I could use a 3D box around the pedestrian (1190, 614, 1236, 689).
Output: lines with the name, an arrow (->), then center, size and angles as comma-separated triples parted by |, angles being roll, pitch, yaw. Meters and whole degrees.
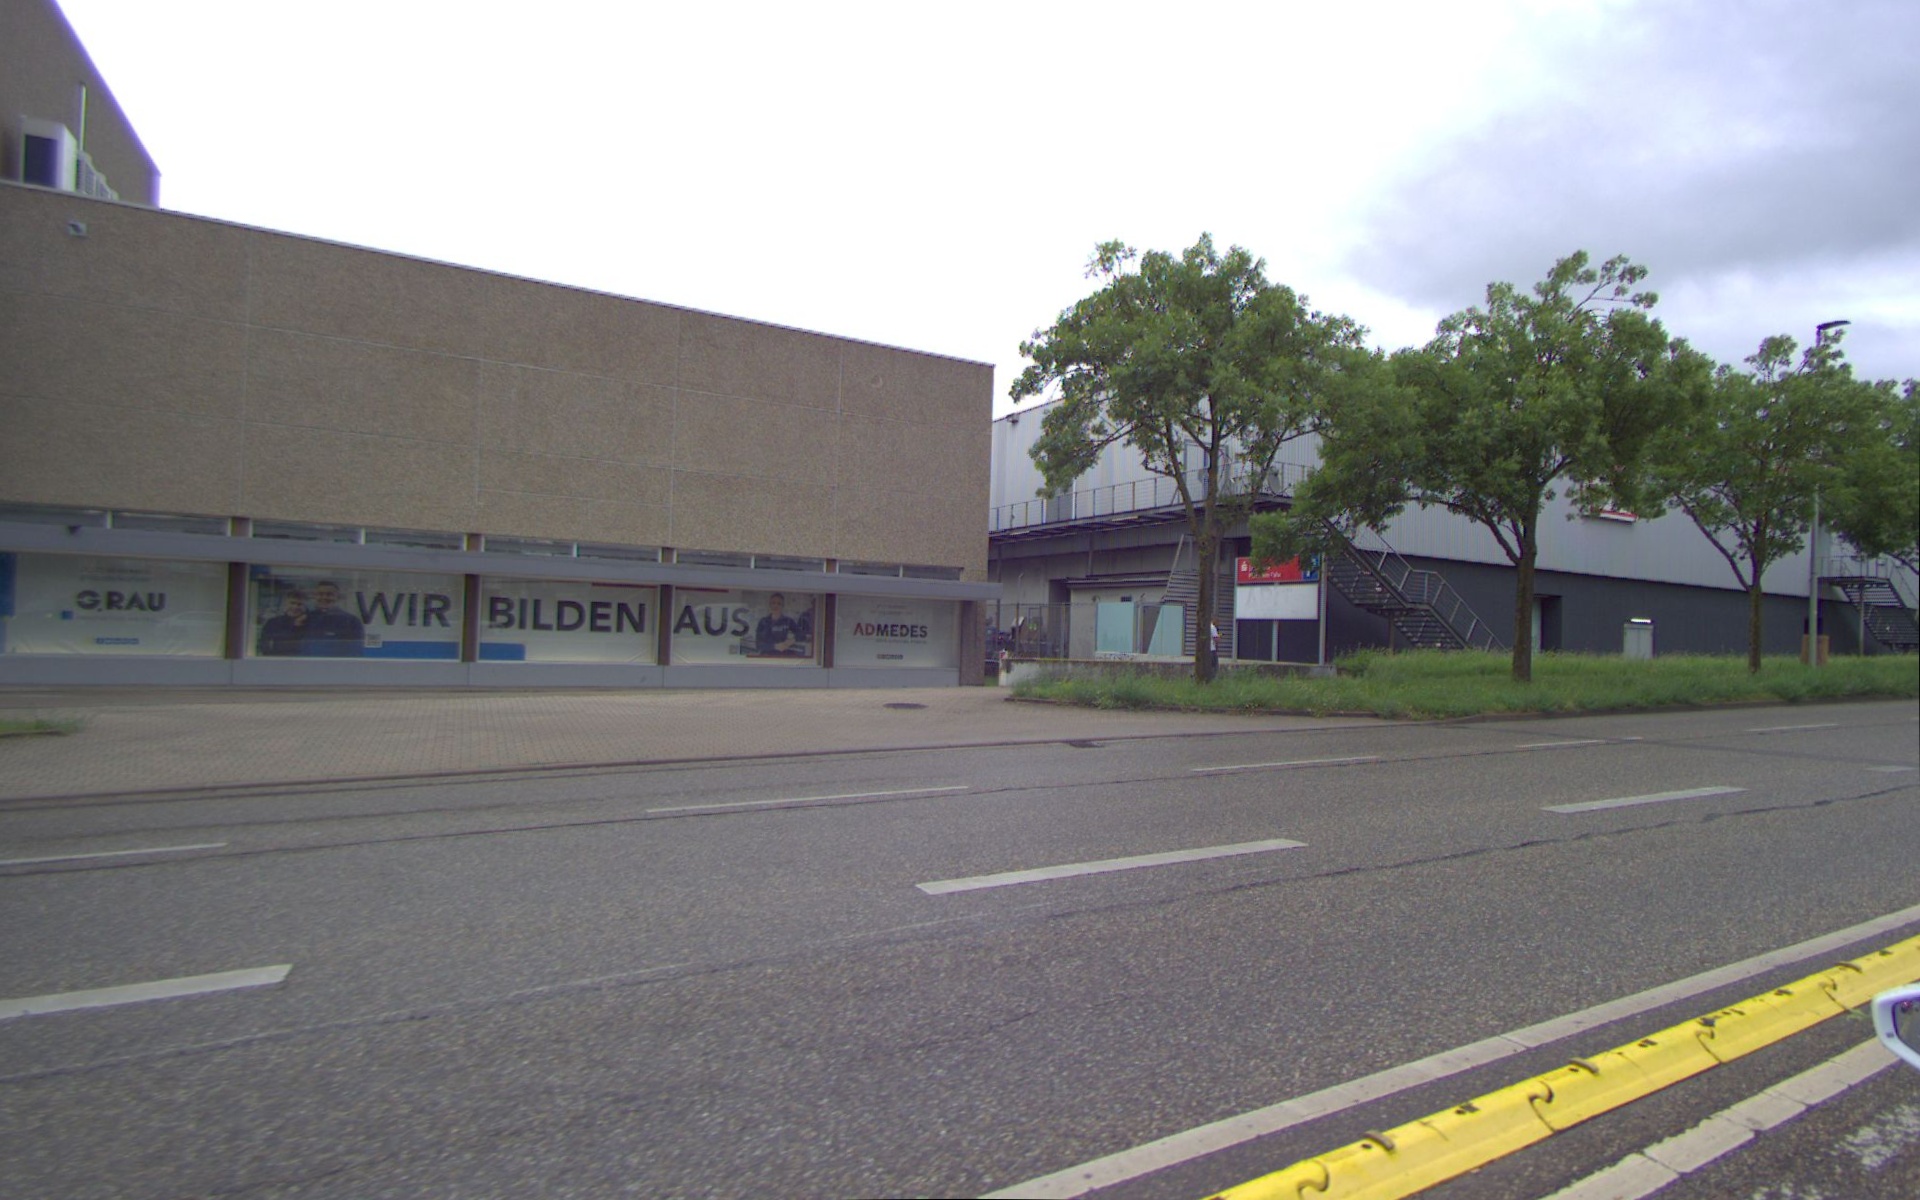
pedestrian -> 5.587, 1.134, 22.188 | 0.757, 1.605, 0.582 | 1, 1, -27
